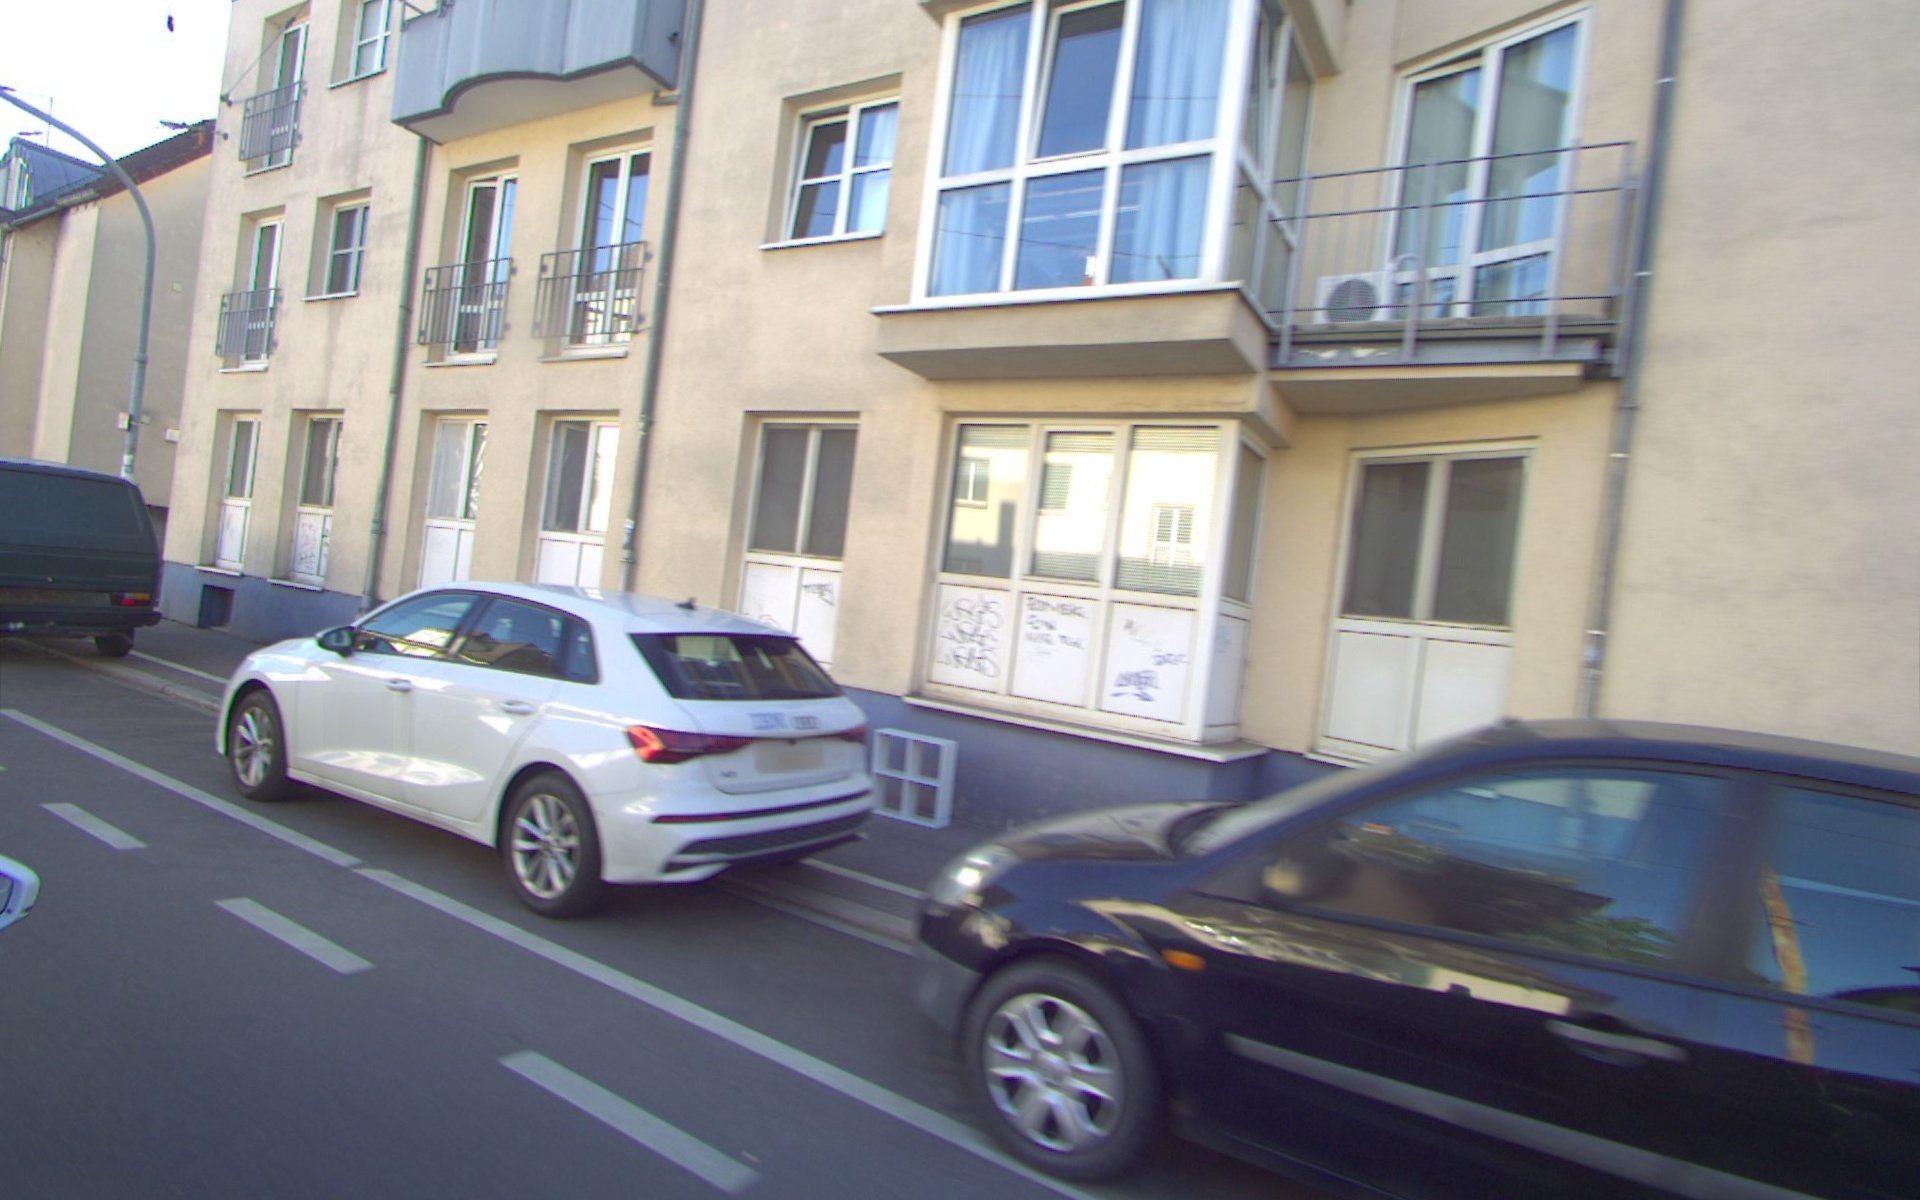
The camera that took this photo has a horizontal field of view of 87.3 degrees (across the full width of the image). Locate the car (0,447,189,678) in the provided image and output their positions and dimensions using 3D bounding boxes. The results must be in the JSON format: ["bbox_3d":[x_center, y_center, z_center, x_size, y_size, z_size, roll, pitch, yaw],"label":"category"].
[{"bbox_3d":[-10.330,-0.532,10.510,4.486,2.010,1.910,7,-2,31],"label":"car"}]

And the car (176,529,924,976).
[{"bbox_3d":[-2.457,0.613,5.736,4.102,1.508,1.681,7,-2,31],"label":"car"}]

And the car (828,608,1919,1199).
[{"bbox_3d":[1.600,1.068,2.940,3.591,1.575,1.557,7,-2,31],"label":"car"}]
